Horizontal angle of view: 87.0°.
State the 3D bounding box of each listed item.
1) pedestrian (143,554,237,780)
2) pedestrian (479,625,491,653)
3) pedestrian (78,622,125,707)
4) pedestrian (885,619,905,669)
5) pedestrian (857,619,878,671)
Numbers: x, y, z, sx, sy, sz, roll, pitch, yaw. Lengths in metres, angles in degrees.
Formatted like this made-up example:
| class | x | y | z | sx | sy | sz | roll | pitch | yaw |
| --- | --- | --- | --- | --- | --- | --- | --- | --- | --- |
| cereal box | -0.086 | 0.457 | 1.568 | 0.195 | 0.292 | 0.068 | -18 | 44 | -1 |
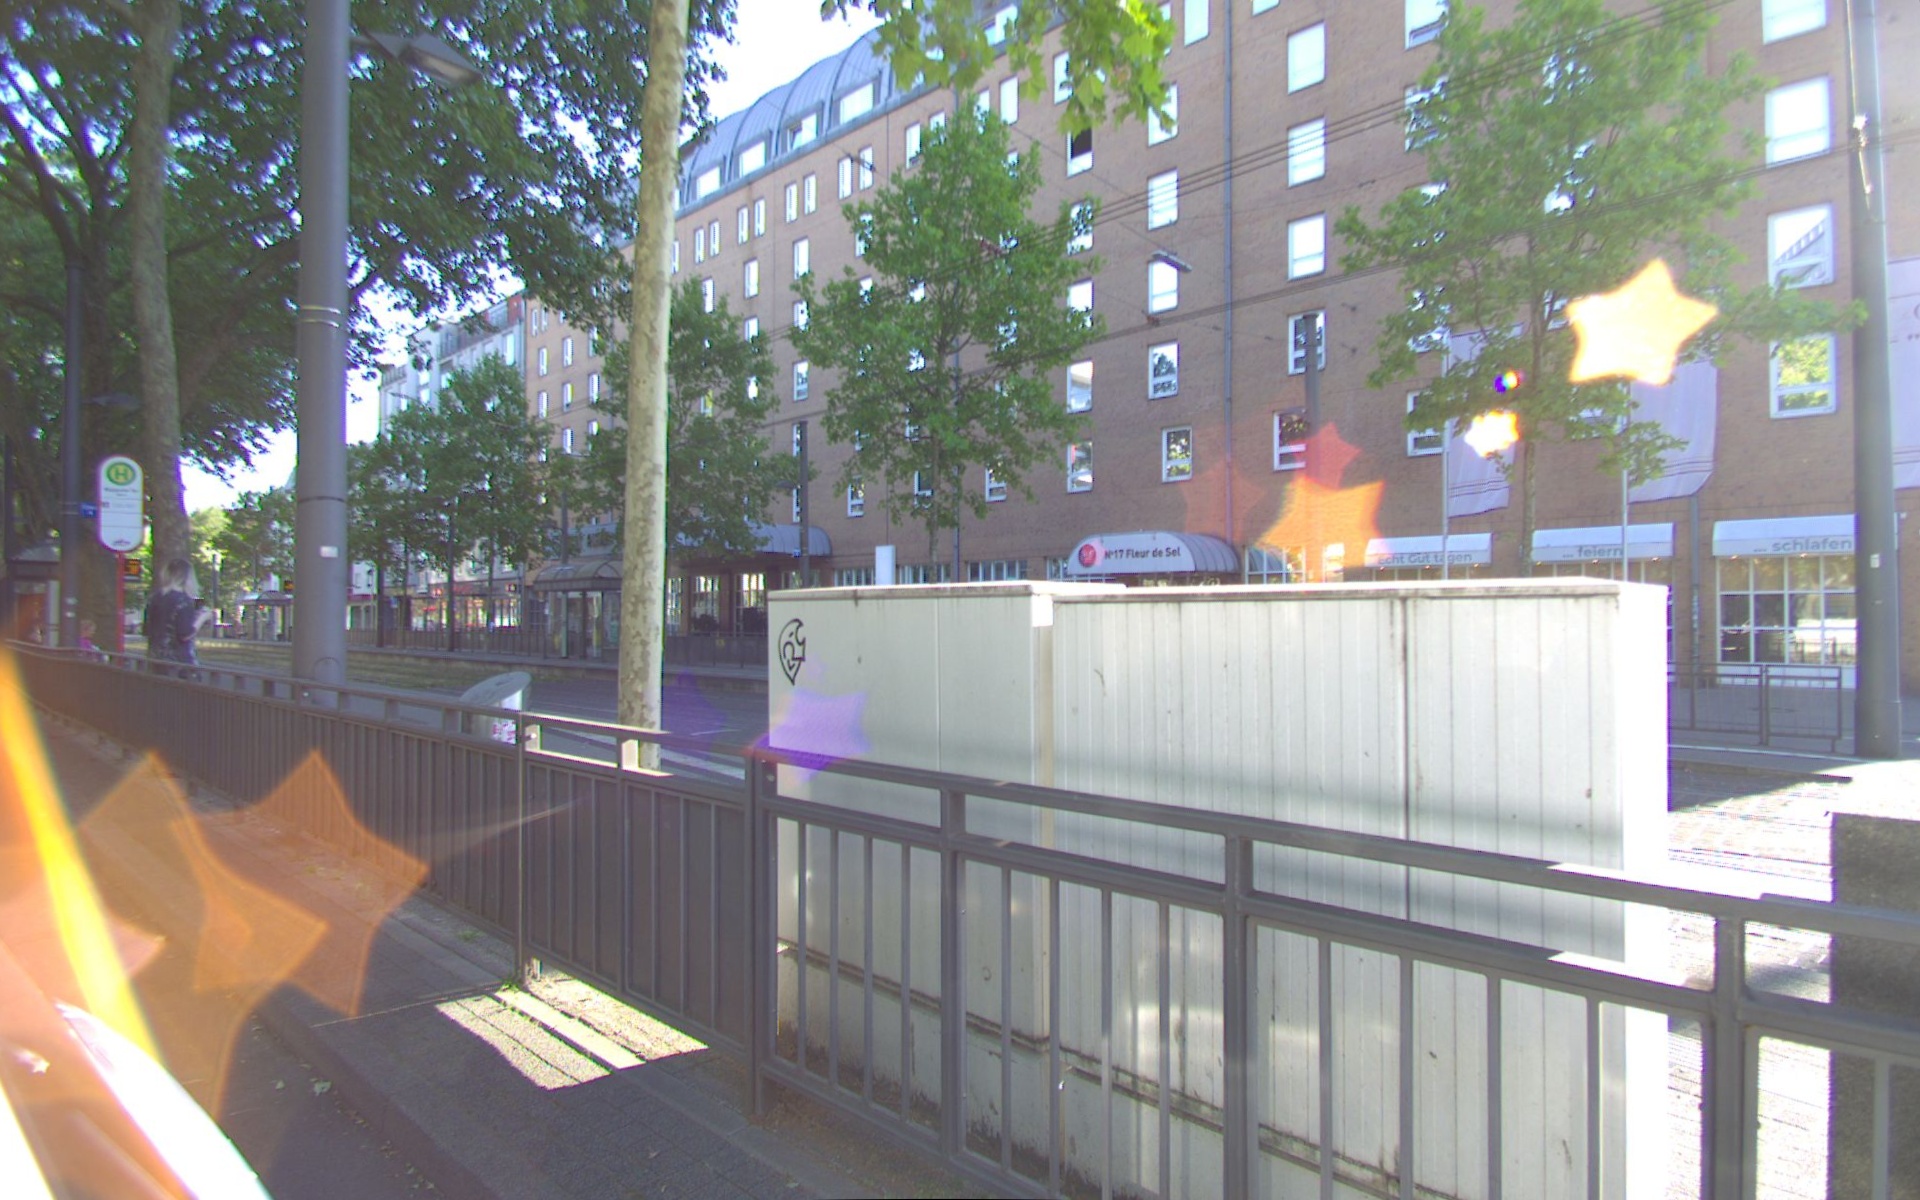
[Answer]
| class | x | y | z | sx | sy | sz | roll | pitch | yaw |
| --- | --- | --- | --- | --- | --- | --- | --- | --- | --- |
| pedestrian | -6.596 | 0.548 | 8.671 | 0.524 | 1.848 | 0.536 | -1 | 0 | 41 |
| pedestrian | -30.107 | 2.470 | 64.205 | 0.574 | 1.748 | 0.497 | -2 | -2 | 43 |
| pedestrian | -13.963 | 1.033 | 16.472 | 0.534 | 1.327 | 0.525 | -1 | 0 | -37 |
| pedestrian | -2.269 | 1.525 | 35.268 | 0.437 | 1.748 | 0.545 | 1 | -2 | -42 |
| pedestrian | -3.155 | 1.530 | 34.552 | 0.472 | 1.748 | 0.545 | 1 | -2 | -42 |
